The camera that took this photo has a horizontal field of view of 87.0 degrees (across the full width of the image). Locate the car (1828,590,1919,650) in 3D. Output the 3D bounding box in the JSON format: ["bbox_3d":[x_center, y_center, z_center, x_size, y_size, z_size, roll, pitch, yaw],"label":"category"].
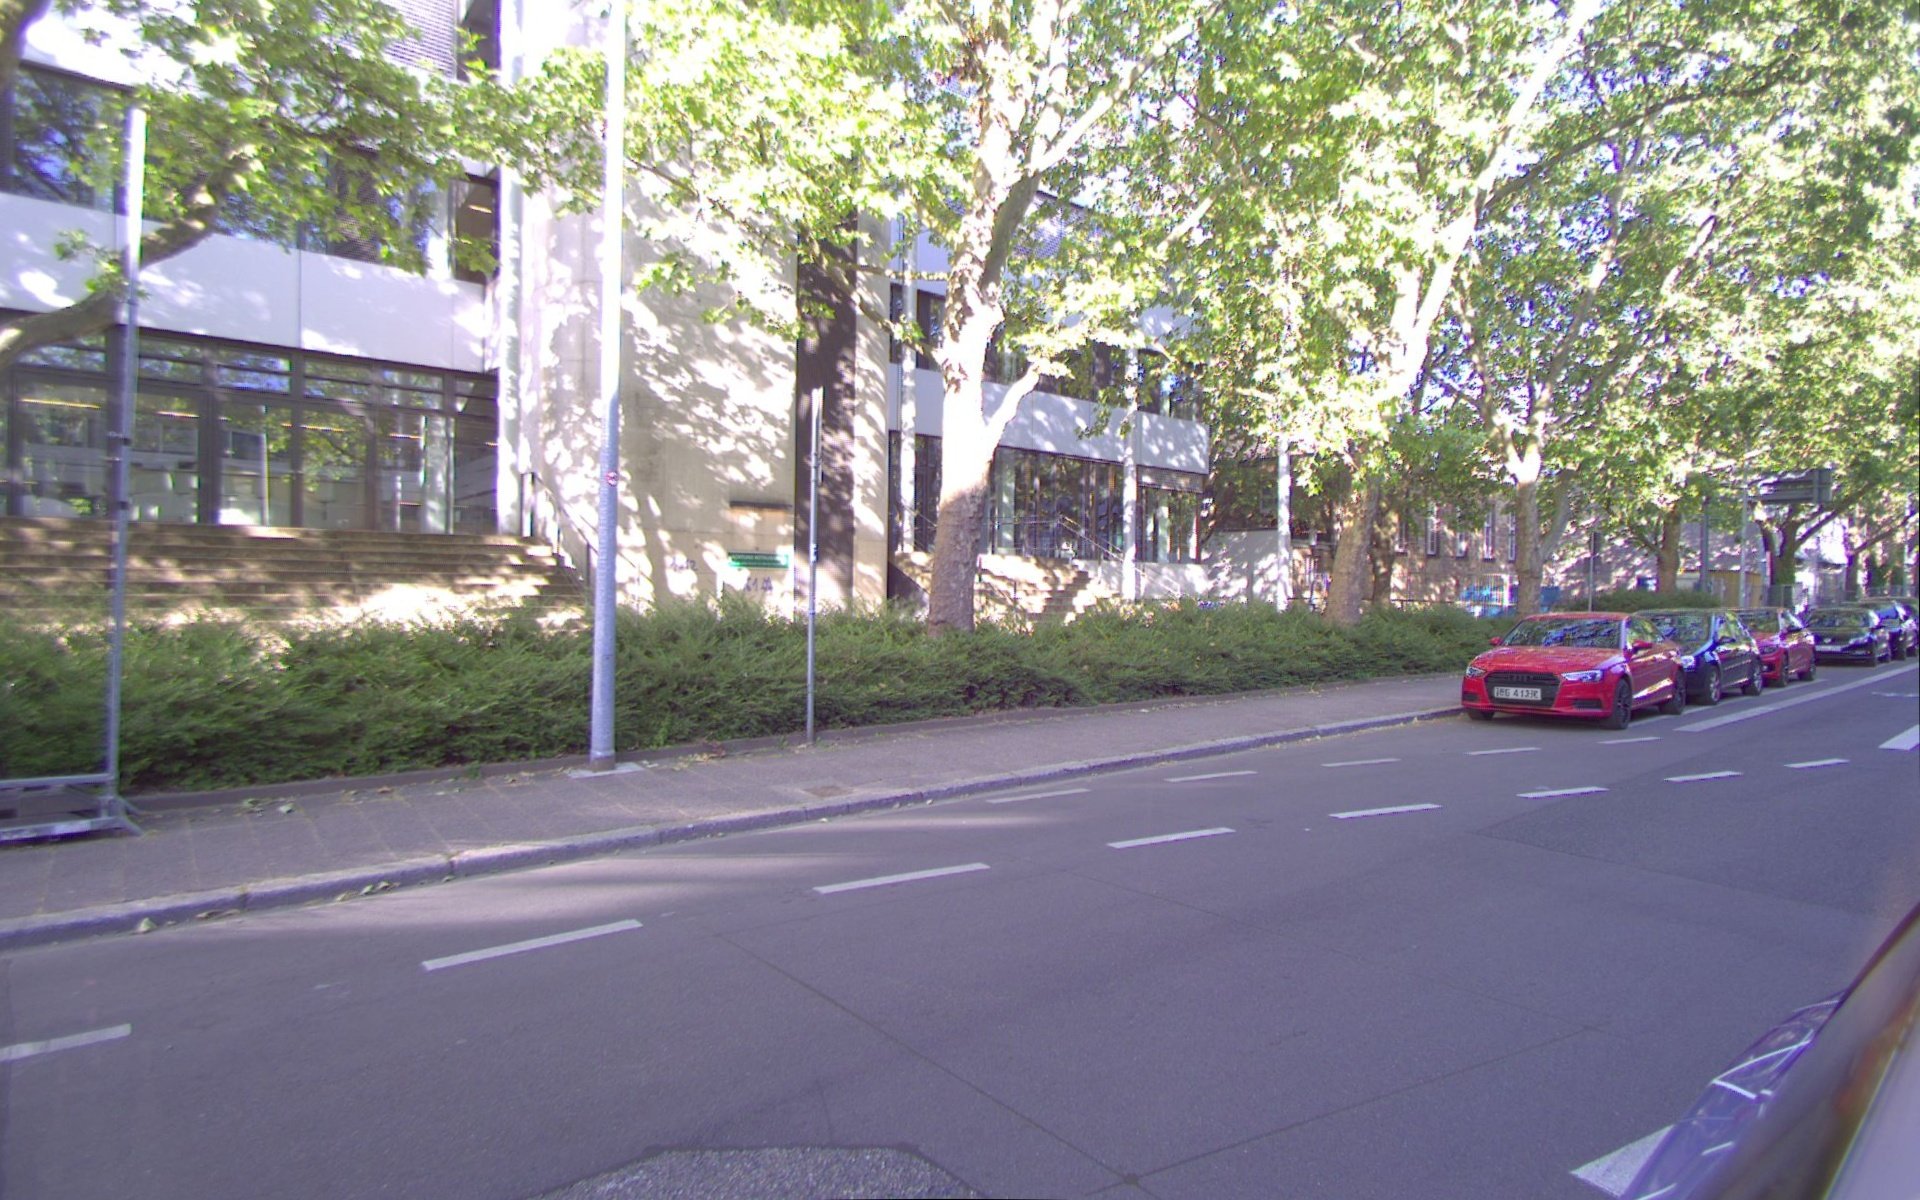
[{"bbox_3d":[26.631,0.530,29.190,4.158,1.601,1.847,0,1,-41],"label":"car"}]

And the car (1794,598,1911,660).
[{"bbox_3d":[22.968,0.686,25.992,3.930,1.456,1.744,0,1,-41],"label":"car"}]

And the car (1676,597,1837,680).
[{"bbox_3d":[15.817,0.687,20.041,3.930,1.456,1.789,0,1,-41],"label":"car"}]

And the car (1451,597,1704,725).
[{"bbox_3d":[8.328,0.695,13.502,4.101,1.443,1.773,0,-1,-42],"label":"car"}]

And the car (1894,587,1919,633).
[{"bbox_3d":[35.724,0.369,37.073,4.004,1.638,1.797,0,1,-41],"label":"car"}]

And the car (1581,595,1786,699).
[{"bbox_3d":[11.937,0.678,16.616,3.929,1.475,1.812,0,1,-40],"label":"car"}]

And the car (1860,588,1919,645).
[{"bbox_3d":[31.066,0.488,33.051,4.188,1.747,1.997,-1,0,-41],"label":"car"}]
